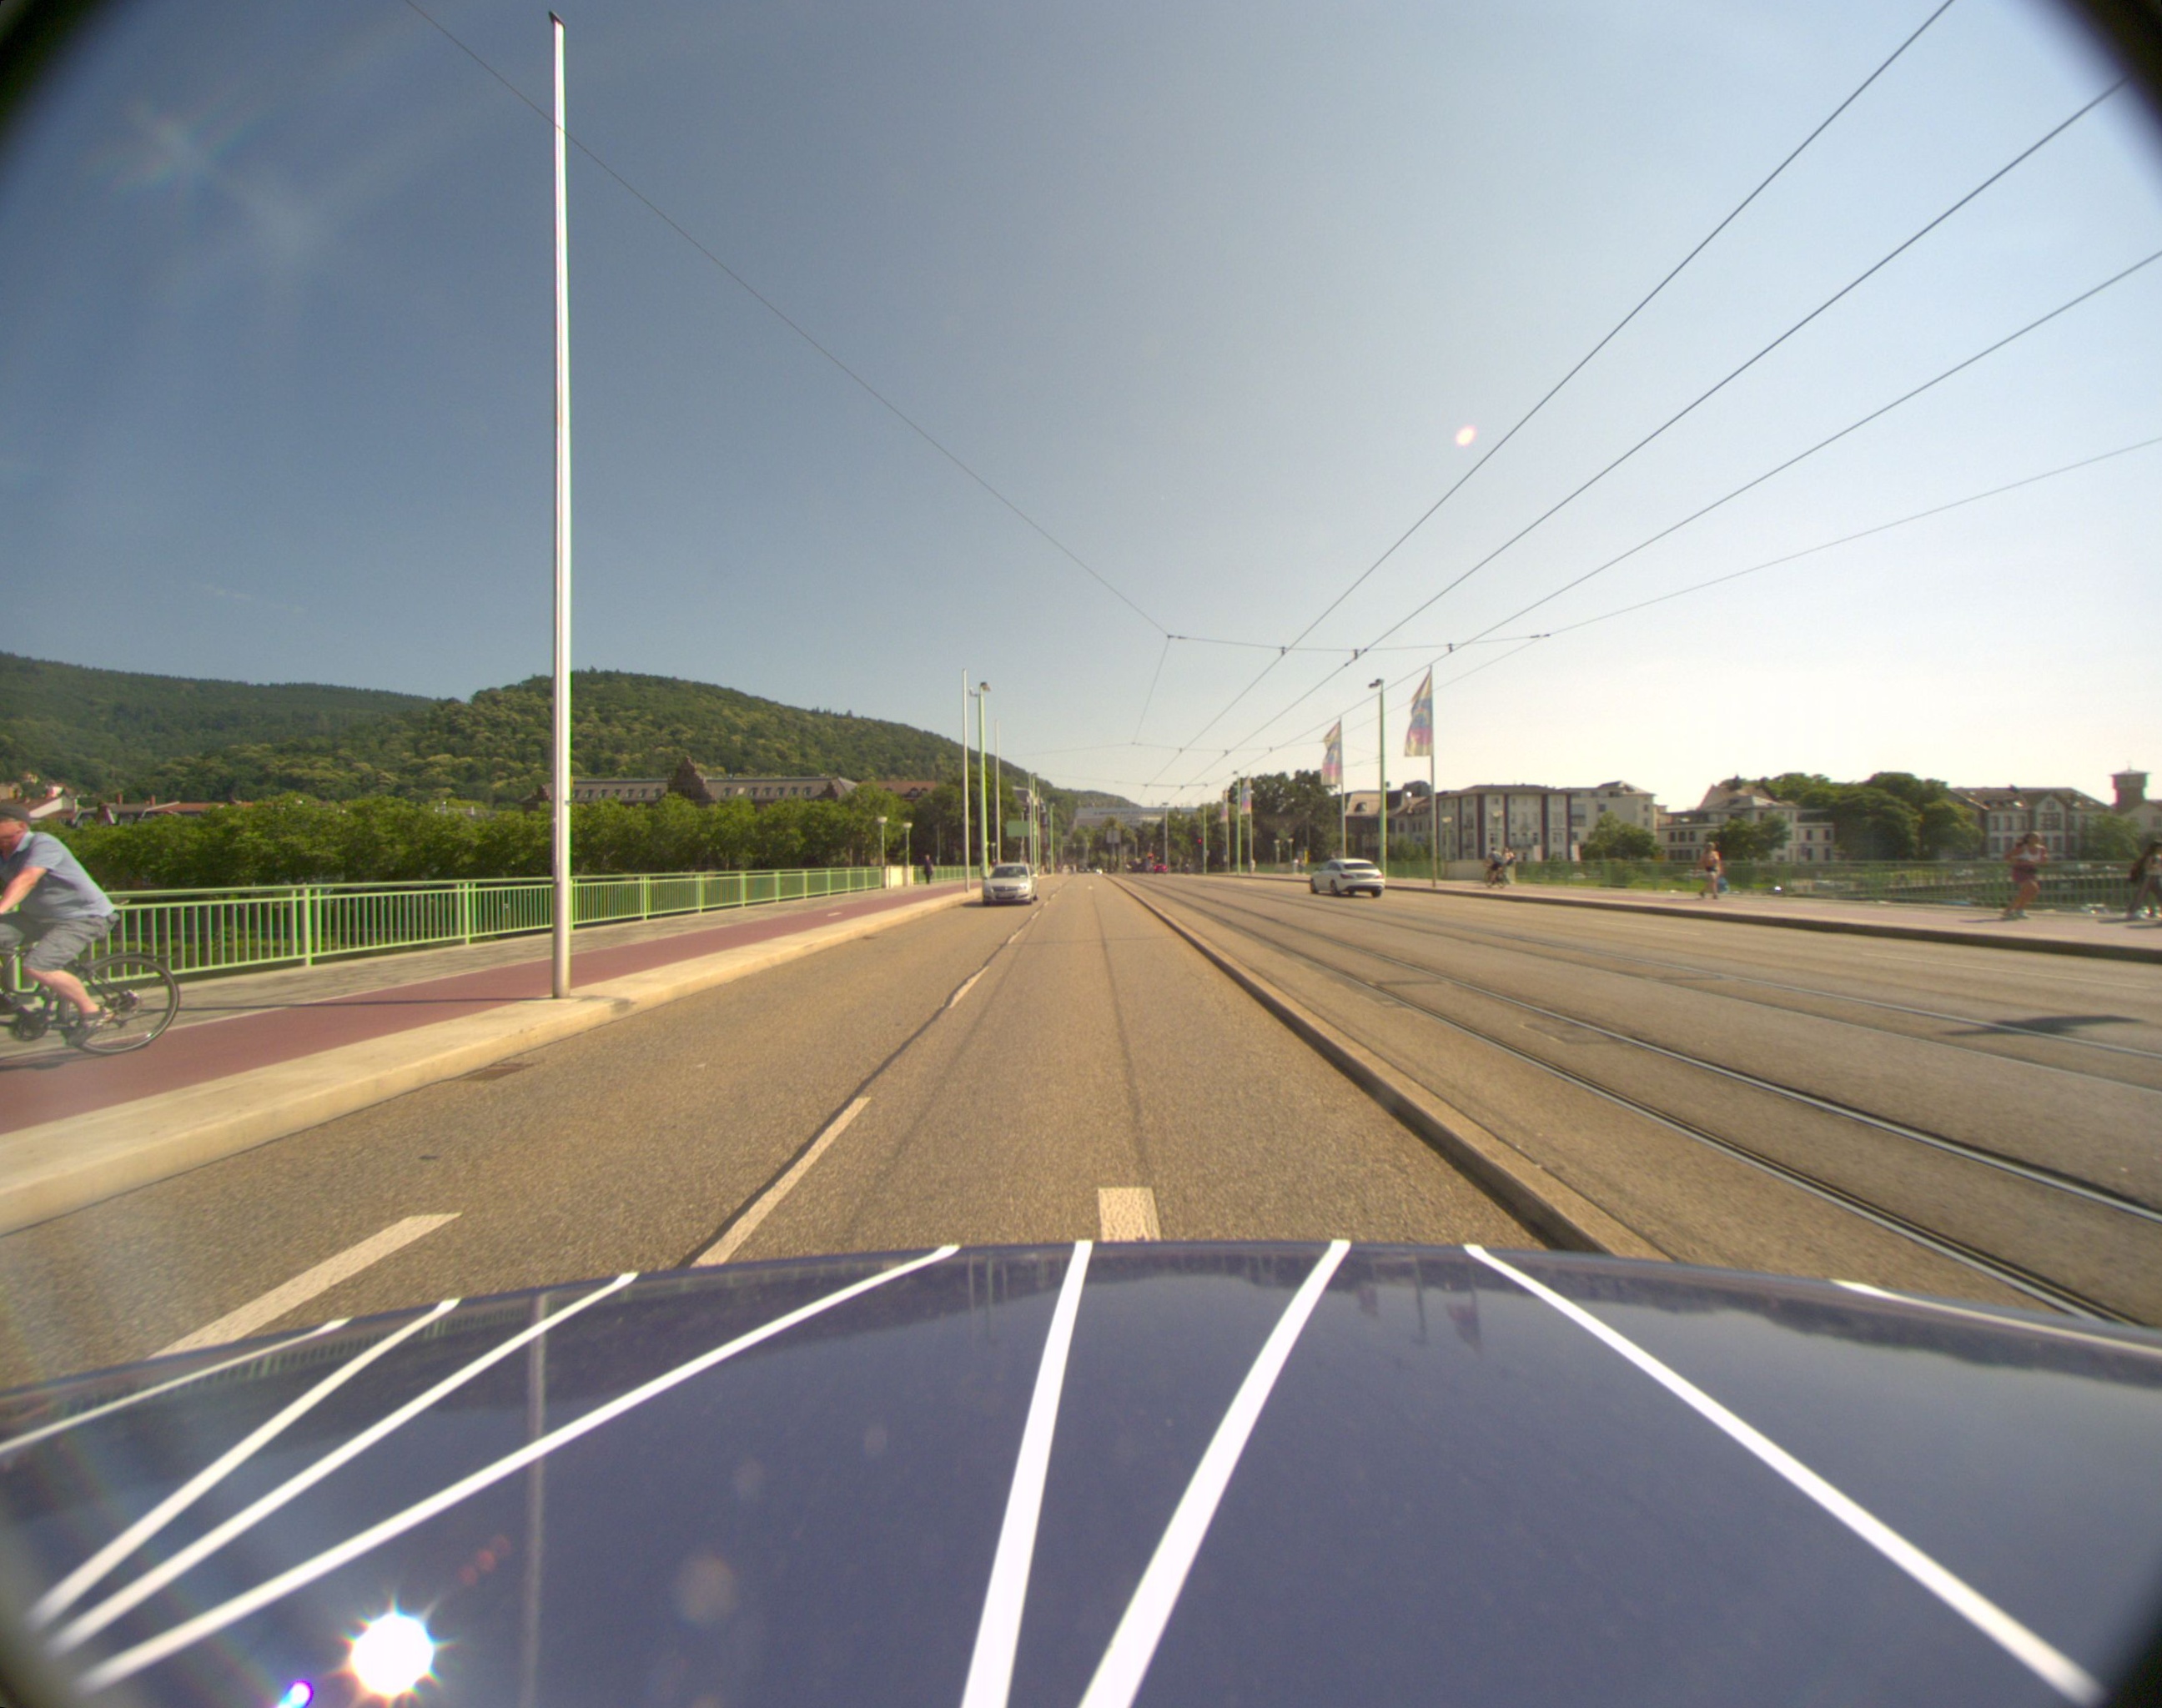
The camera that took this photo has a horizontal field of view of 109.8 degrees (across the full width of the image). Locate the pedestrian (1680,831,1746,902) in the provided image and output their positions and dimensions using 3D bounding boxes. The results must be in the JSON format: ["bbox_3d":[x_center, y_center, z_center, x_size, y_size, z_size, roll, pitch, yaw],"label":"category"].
[{"bbox_3d":[18.369,0.350,22.105,0.971,2.001,1.101,-1,0,-5],"label":"pedestrian"}]

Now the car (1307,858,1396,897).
[{"bbox_3d":[10.550,0.862,30.009,1.998,1.401,4.547,-1,0,1],"label":"car"}]

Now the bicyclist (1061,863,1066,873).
[{"bbox_3d":[-3.701,2.993,159.939,0.944,2.001,0.830,0,0,-5],"label":"bicyclist"}]

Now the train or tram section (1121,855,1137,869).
[{"bbox_3d":[12.737,2.142,201.507,2.768,3.383,12.409,0,-1,-4],"label":"train or tram section"}]

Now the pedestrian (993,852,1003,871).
[{"bbox_3d":[-8.370,0.768,76.450,0.988,1.884,1.253,-1,0,-5],"label":"pedestrian"}]

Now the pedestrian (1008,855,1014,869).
[{"bbox_3d":[-7.811,0.887,84.672,0.656,1.640,0.868,-1,0,-5],"label":"pedestrian"}]

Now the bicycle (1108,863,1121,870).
[{"bbox_3d":[5.387,1.993,122.777,1.917,1.107,0.762,-1,0,10],"label":"bicycle"}]

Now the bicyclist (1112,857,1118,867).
[{"bbox_3d":[5.525,1.358,122.748,0.878,1.599,0.772,-1,0,12],"label":"bicyclist"}]

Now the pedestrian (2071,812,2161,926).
[{"bbox_3d":[19.489,0.263,13.964,1.100,2.001,1.129,-1,0,-2],"label":"pedestrian"}]

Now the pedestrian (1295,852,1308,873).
[{"bbox_3d":[20.166,0.786,69.456,0.740,1.838,1.121,-4,0,-2],"label":"pedestrian"}]

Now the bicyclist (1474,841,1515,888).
[{"bbox_3d":[17.433,0.445,32.063,1.100,1.949,1.129,-1,0,-2],"label":"bicyclist"}]

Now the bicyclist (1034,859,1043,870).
[{"bbox_3d":[-5.170,1.252,92.226,0.912,1.385,1.233,0,-1,1],"label":"bicyclist"}]

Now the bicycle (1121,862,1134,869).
[{"bbox_3d":[7.397,1.815,121.274,1.916,1.107,0.762,-1,0,16],"label":"bicycle"}]

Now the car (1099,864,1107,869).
[{"bbox_3d":[5.312,2.984,183.943,1.638,1.300,3.913,0,-1,-5],"label":"car"}]

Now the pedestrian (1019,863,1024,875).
[{"bbox_3d":[-7.781,1.907,99.394,0.651,1.553,0.692,0,-1,1],"label":"pedestrian"}]

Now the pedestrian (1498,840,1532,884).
[{"bbox_3d":[19.900,0.375,34.876,0.901,2.001,1.042,-1,0,-2],"label":"pedestrian"}]

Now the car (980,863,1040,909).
[{"bbox_3d":[-2.507,1.117,27.884,1.802,1.492,4.497,-2,-1,-1],"label":"car"}]

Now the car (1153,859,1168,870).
[{"bbox_3d":[11.750,1.602,112.303,1.998,1.506,4.191,-2,0,3],"label":"car"}]

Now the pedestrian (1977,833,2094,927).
[{"bbox_3d":[18.270,0.486,14.572,0.756,1.712,1.175,-1,1,-2],"label":"pedestrian"}]

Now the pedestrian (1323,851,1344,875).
[{"bbox_3d":[18.921,0.680,56.990,1.100,1.748,1.295,-1,0,-2],"label":"pedestrian"}]

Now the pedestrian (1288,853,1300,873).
[{"bbox_3d":[19.436,0.837,69.333,0.740,1.774,0.957,-4,0,-2],"label":"pedestrian"}]

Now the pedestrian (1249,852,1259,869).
[{"bbox_3d":[20.091,0.746,88.135,0.740,1.842,0.975,-4,0,-2],"label":"pedestrian"}]

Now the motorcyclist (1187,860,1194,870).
[{"bbox_3d":[16.286,1.653,113.010,0.847,1.393,0.898,-2,0,-2],"label":"motorcyclist"}]

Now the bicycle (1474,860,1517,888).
[{"bbox_3d":[17.488,0.839,32.075,0.590,1.090,2.112,-1,0,-2],"label":"bicycle"}]

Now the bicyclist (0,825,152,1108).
[{"bbox_3d":[-6.973,0.695,4.855,0.675,1.733,1.150,0,0,-4],"label":"bicyclist"}]

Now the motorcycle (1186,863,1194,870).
[{"bbox_3d":[16.260,1.891,113.097,0.847,1.019,1.951,-2,0,-1],"label":"motorcycle"}]

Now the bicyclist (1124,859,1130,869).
[{"bbox_3d":[7.314,1.593,121.277,0.770,1.599,0.881,-1,0,12],"label":"bicyclist"}]

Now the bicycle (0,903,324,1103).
[{"bbox_3d":[-6.970,0.966,4.814,0.794,1.089,3.743,0,0,-4],"label":"bicycle"}]

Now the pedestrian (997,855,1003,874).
[{"bbox_3d":[-7.707,0.964,72.307,0.587,1.783,0.632,-1,0,-4],"label":"pedestrian"}]

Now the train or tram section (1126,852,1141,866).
[{"bbox_3d":[13.308,1.311,192.395,2.768,3.383,5.885,0,-1,-5],"label":"train or tram section"}]

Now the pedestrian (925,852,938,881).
[{"bbox_3d":[-8.955,0.763,45.527,0.656,1.733,0.978,-1,-1,-5],"label":"pedestrian"}]

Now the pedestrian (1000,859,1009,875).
[{"bbox_3d":[-8.609,1.445,85.101,0.988,1.759,1.254,0,0,-5],"label":"pedestrian"}]

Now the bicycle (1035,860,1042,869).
[{"bbox_3d":[-5.186,1.226,92.204,0.643,1.076,2.497,0,-1,2],"label":"bicycle"}]

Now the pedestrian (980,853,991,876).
[{"bbox_3d":[-8.473,0.920,67.246,0.876,2.002,1.059,-1,0,-5],"label":"pedestrian"}]

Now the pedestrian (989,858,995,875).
[{"bbox_3d":[-8.488,1.205,72.378,0.524,1.639,0.699,-1,0,-5],"label":"pedestrian"}]

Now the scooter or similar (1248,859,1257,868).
[{"bbox_3d":[20.091,1.153,89.052,0.740,1.023,0.832,-4,0,-2],"label":"scooter or similar"}]
